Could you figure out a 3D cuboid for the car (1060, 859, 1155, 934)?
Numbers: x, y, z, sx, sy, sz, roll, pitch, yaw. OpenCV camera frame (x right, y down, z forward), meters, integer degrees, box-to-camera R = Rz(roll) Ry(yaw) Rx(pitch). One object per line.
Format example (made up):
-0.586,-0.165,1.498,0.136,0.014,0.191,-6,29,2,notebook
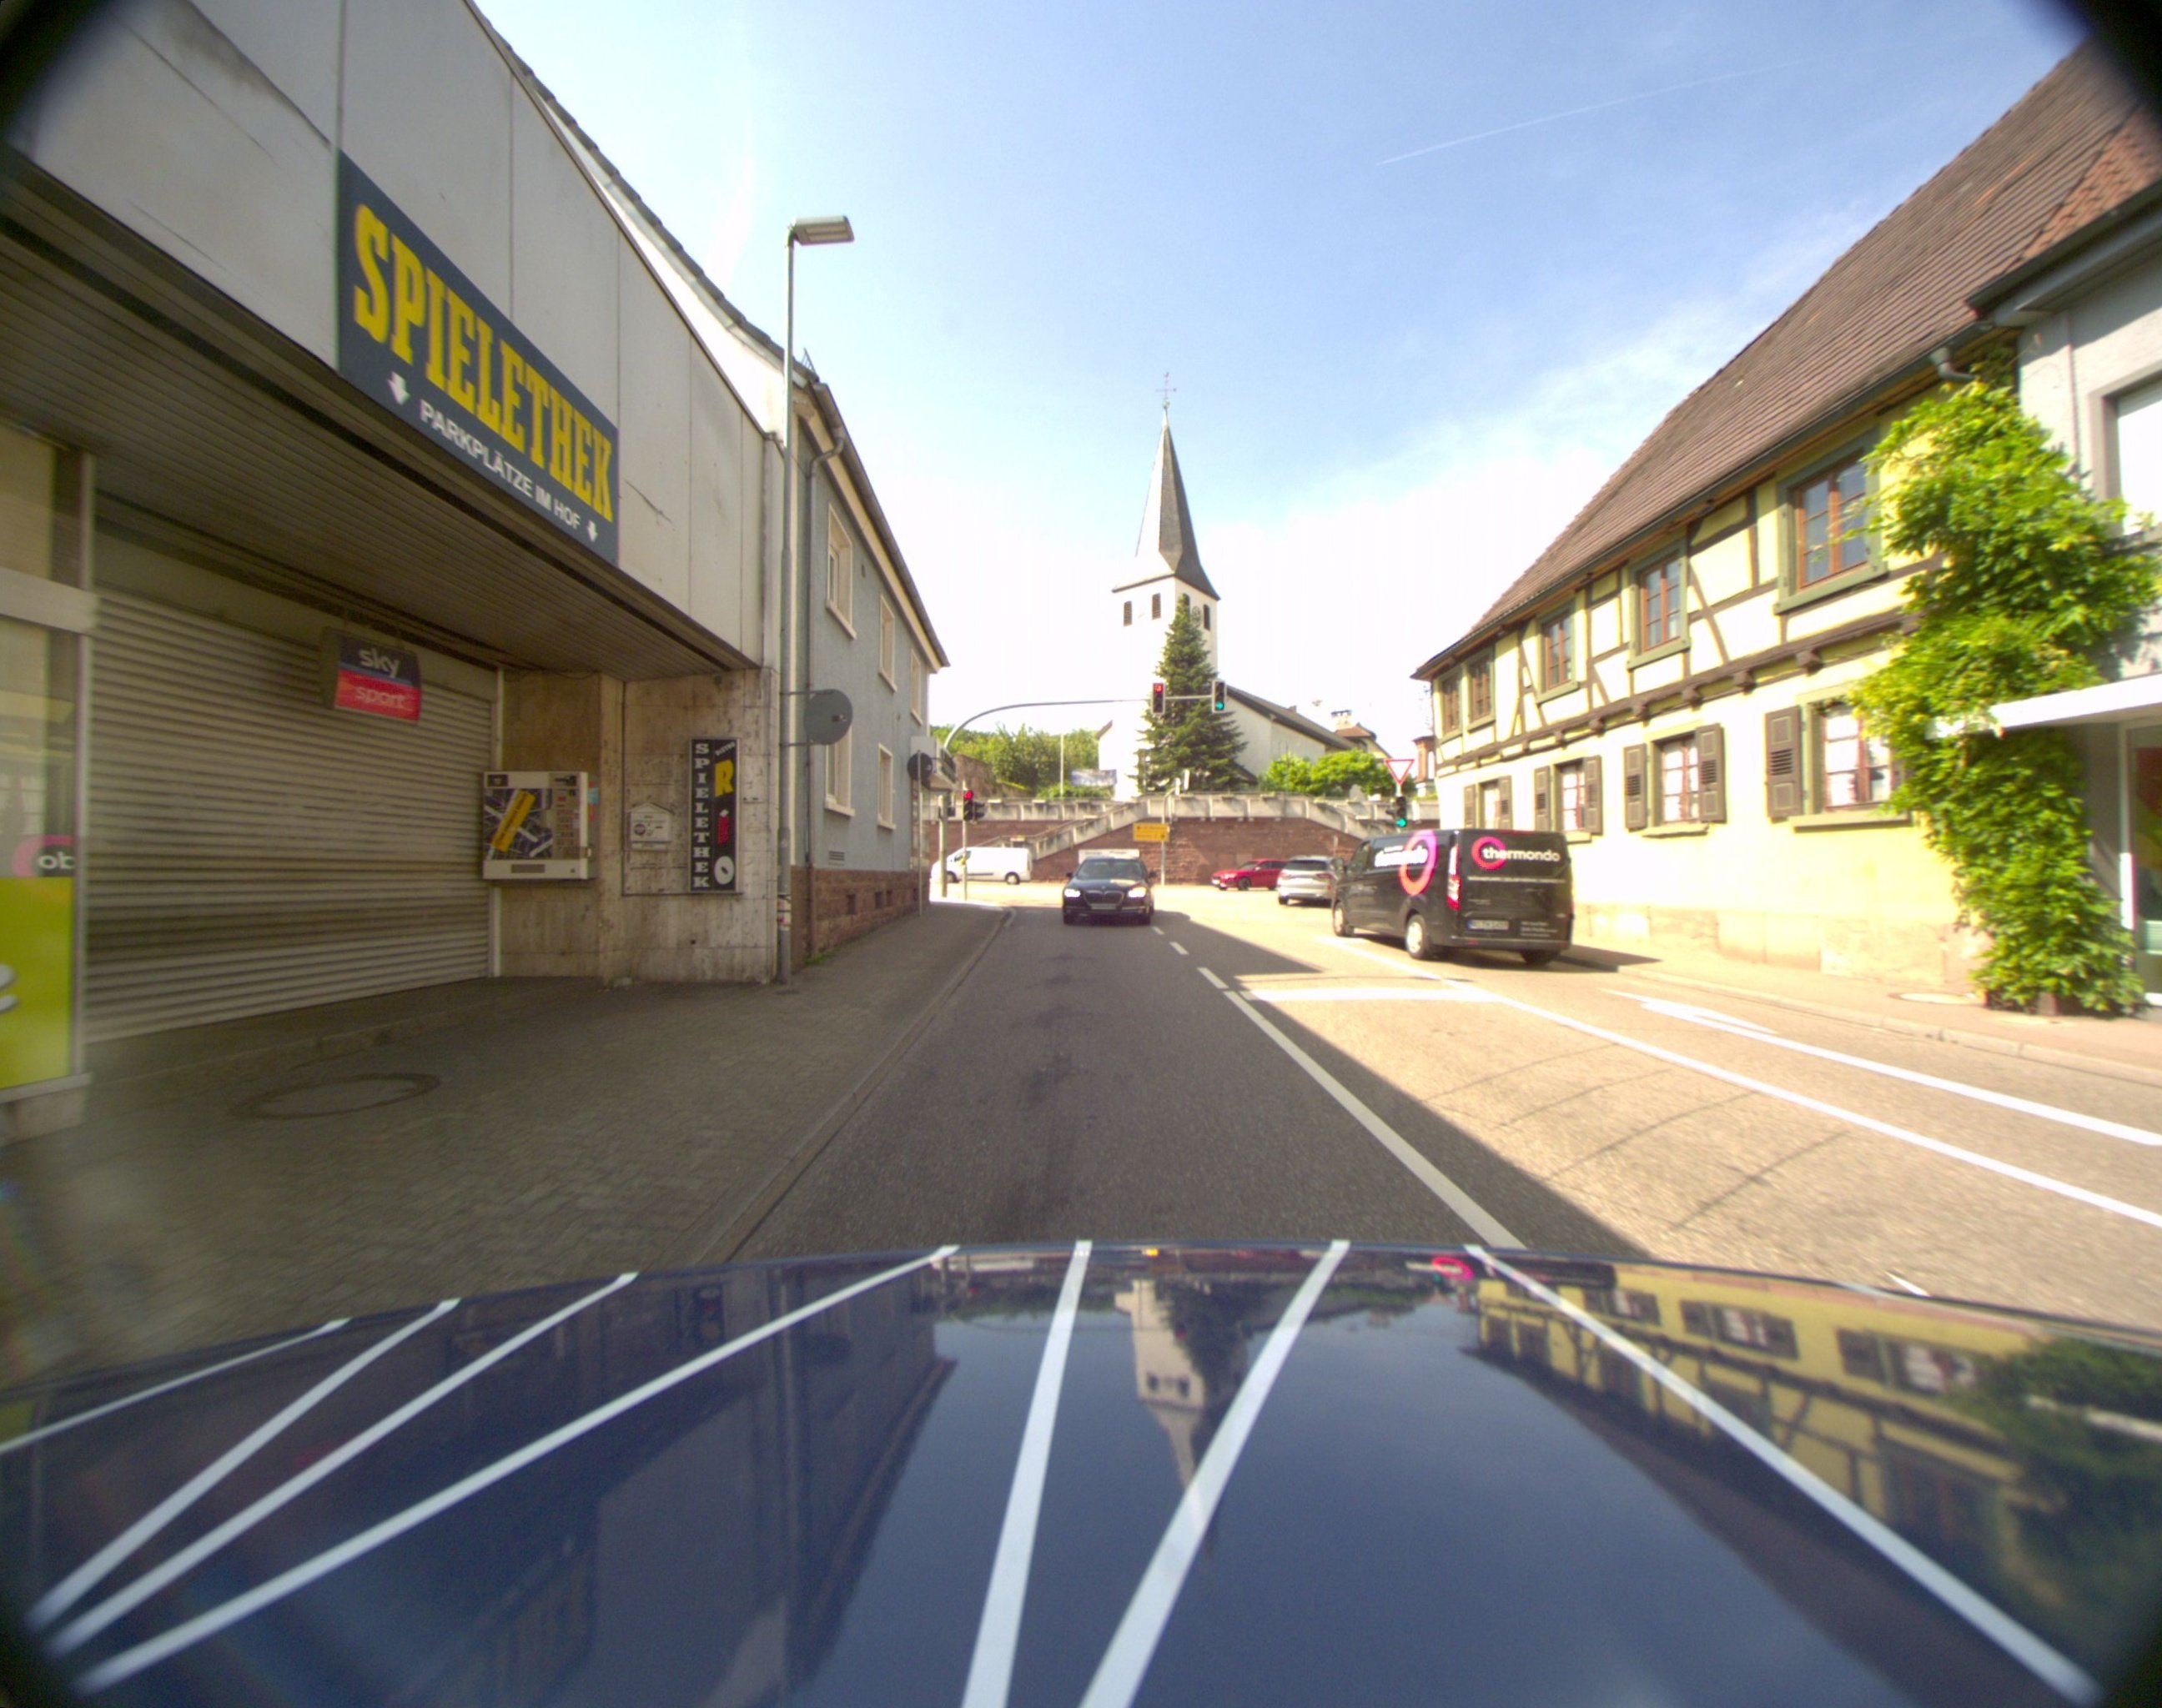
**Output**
0.600,0.828,16.733,1.825,1.426,4.249,0,0,3,car

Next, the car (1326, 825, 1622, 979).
5.947,0.634,12.480,2.164,1.912,5.165,2,0,1,car

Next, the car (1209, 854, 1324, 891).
8.474,0.796,34.623,4.955,1.506,2.161,-1,0,-28,car

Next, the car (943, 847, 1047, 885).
-4.504,0.623,40.348,5.273,1.955,2.144,0,-1,1,car

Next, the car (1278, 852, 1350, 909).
7.574,0.775,24.427,1.756,1.601,4.436,3,1,22,car
